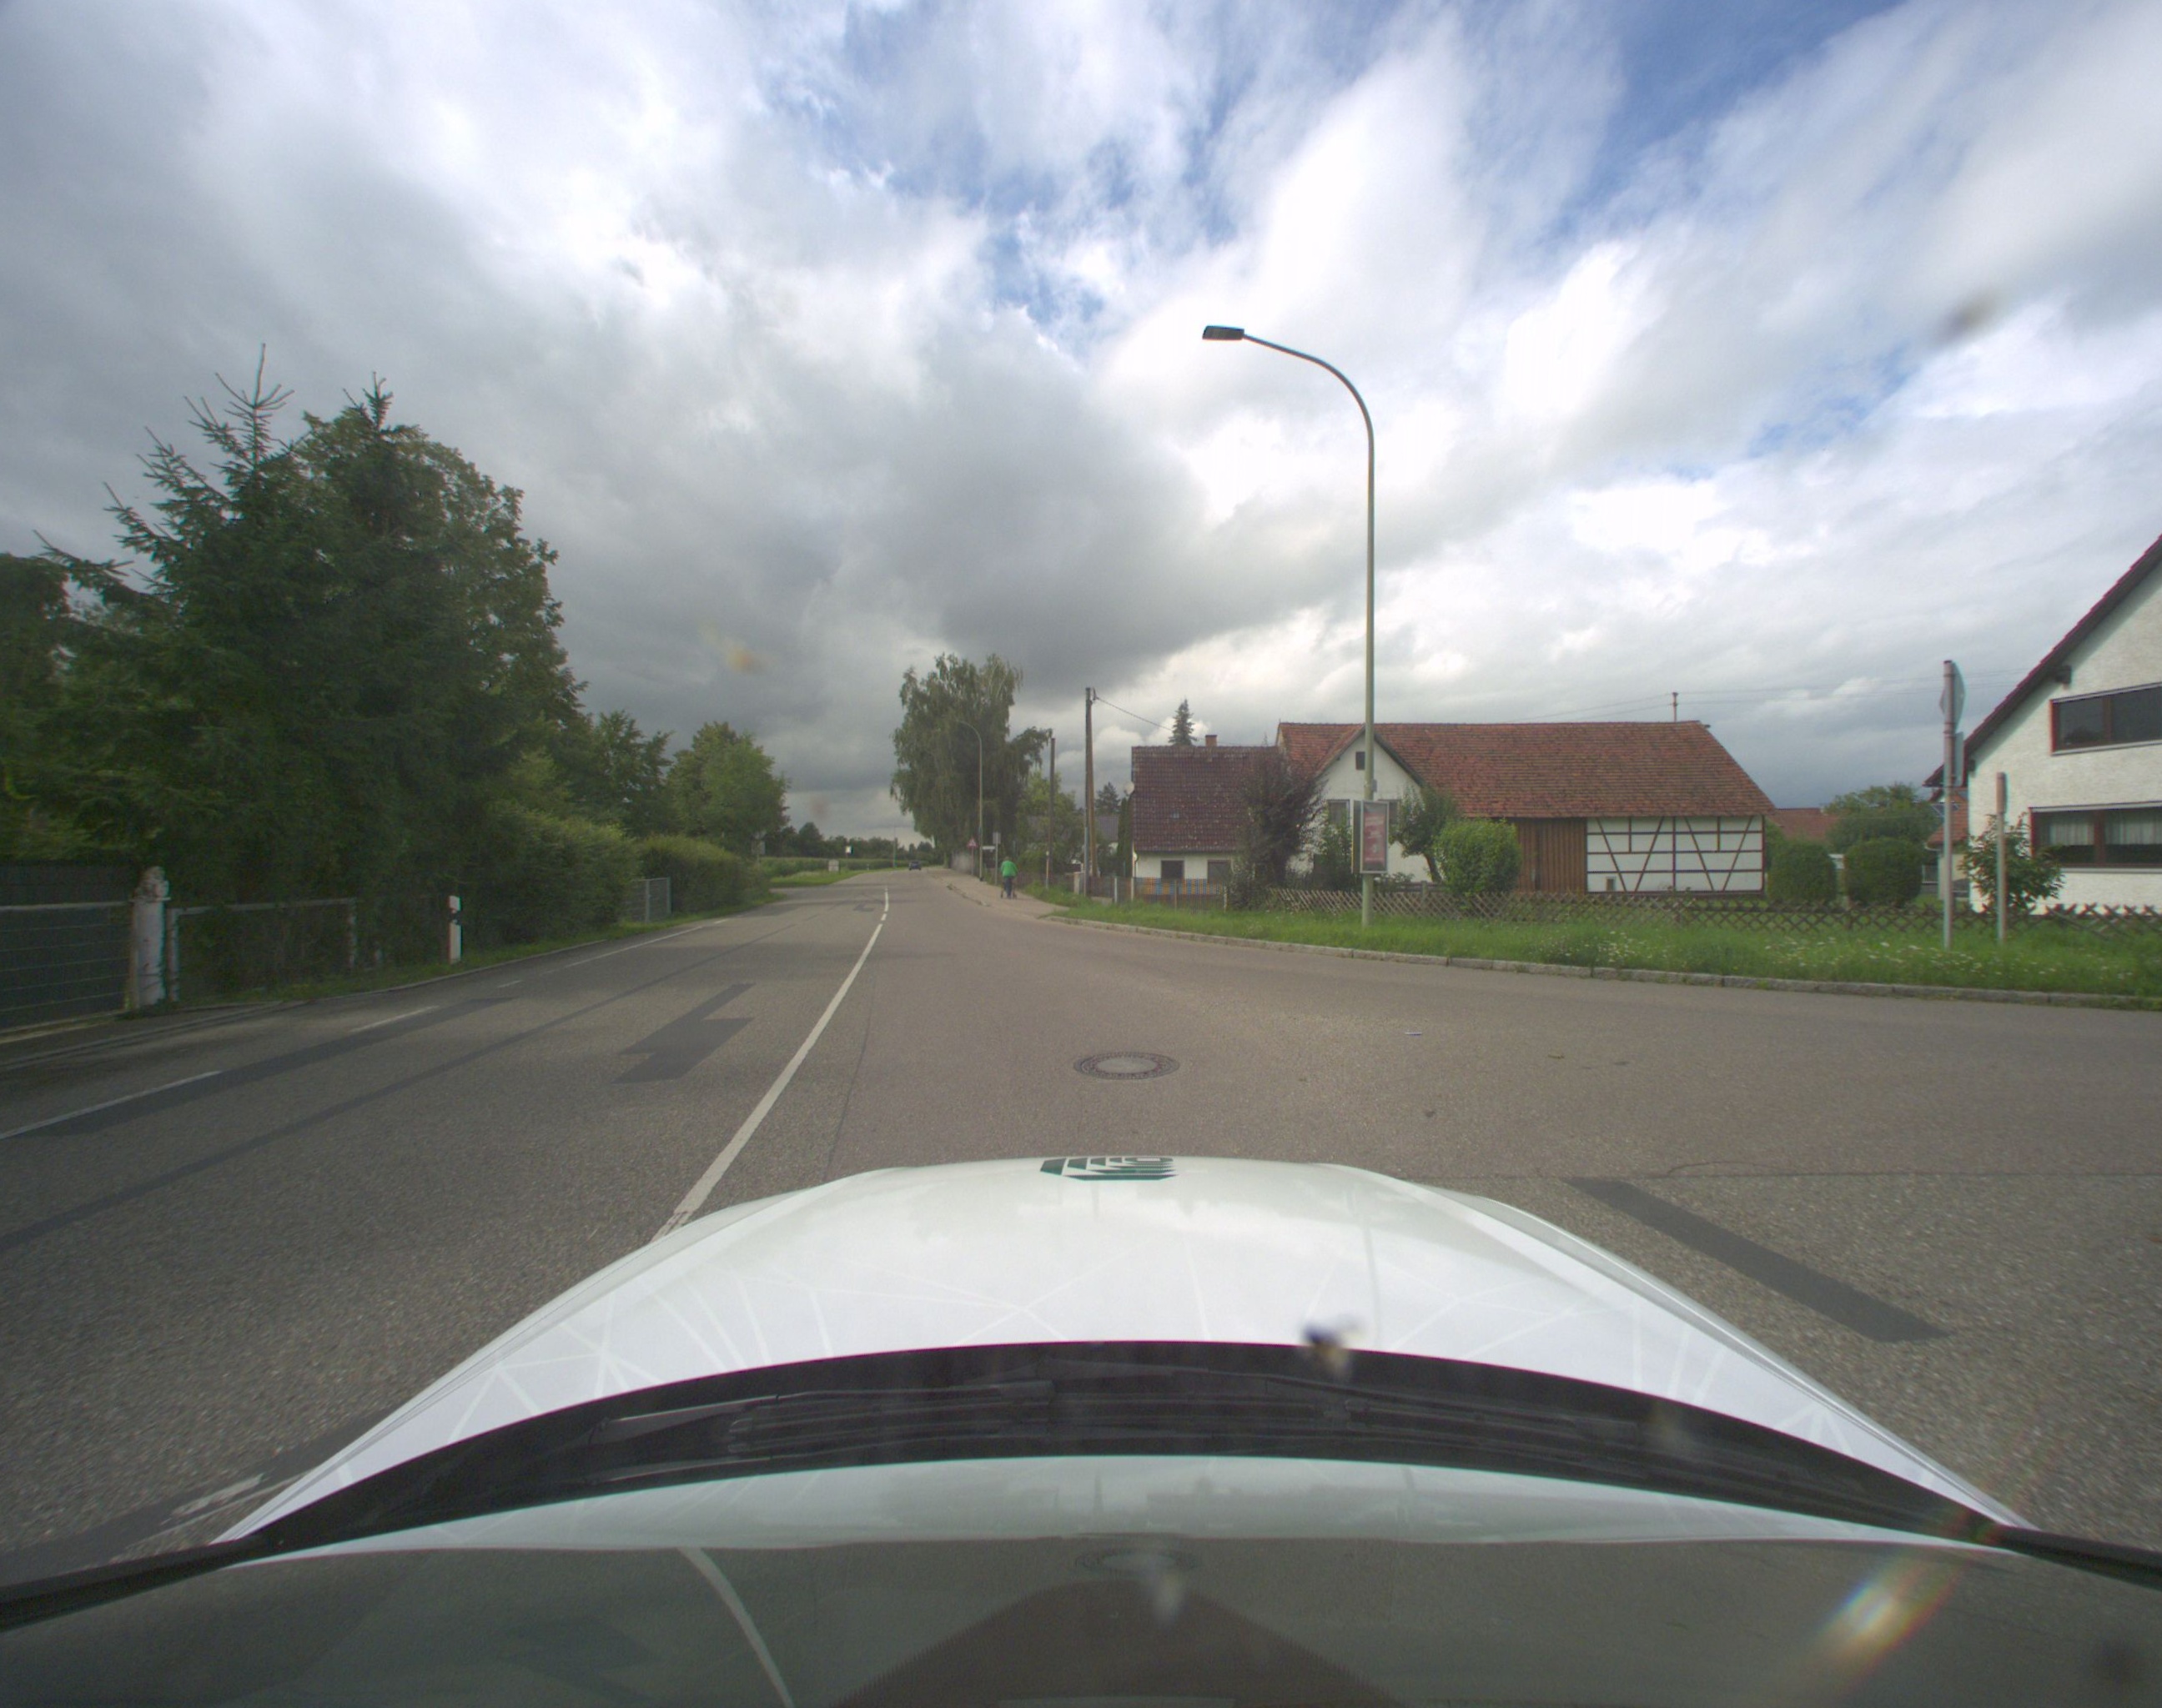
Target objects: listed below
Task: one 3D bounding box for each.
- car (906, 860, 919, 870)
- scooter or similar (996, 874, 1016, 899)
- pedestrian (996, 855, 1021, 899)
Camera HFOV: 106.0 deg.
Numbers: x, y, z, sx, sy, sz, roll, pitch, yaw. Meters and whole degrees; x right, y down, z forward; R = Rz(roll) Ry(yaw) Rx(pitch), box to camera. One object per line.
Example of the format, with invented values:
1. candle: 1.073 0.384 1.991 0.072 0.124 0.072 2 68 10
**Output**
1. car: -27.026 1.788 130.399 1.995 1.552 3.983 0 0 -13
2. scooter or similar: -3.047 1.331 33.014 0.632 0.948 0.619 4 -2 -16
3. pedestrian: -2.873 0.918 32.312 0.790 1.665 0.708 4 -2 -16
